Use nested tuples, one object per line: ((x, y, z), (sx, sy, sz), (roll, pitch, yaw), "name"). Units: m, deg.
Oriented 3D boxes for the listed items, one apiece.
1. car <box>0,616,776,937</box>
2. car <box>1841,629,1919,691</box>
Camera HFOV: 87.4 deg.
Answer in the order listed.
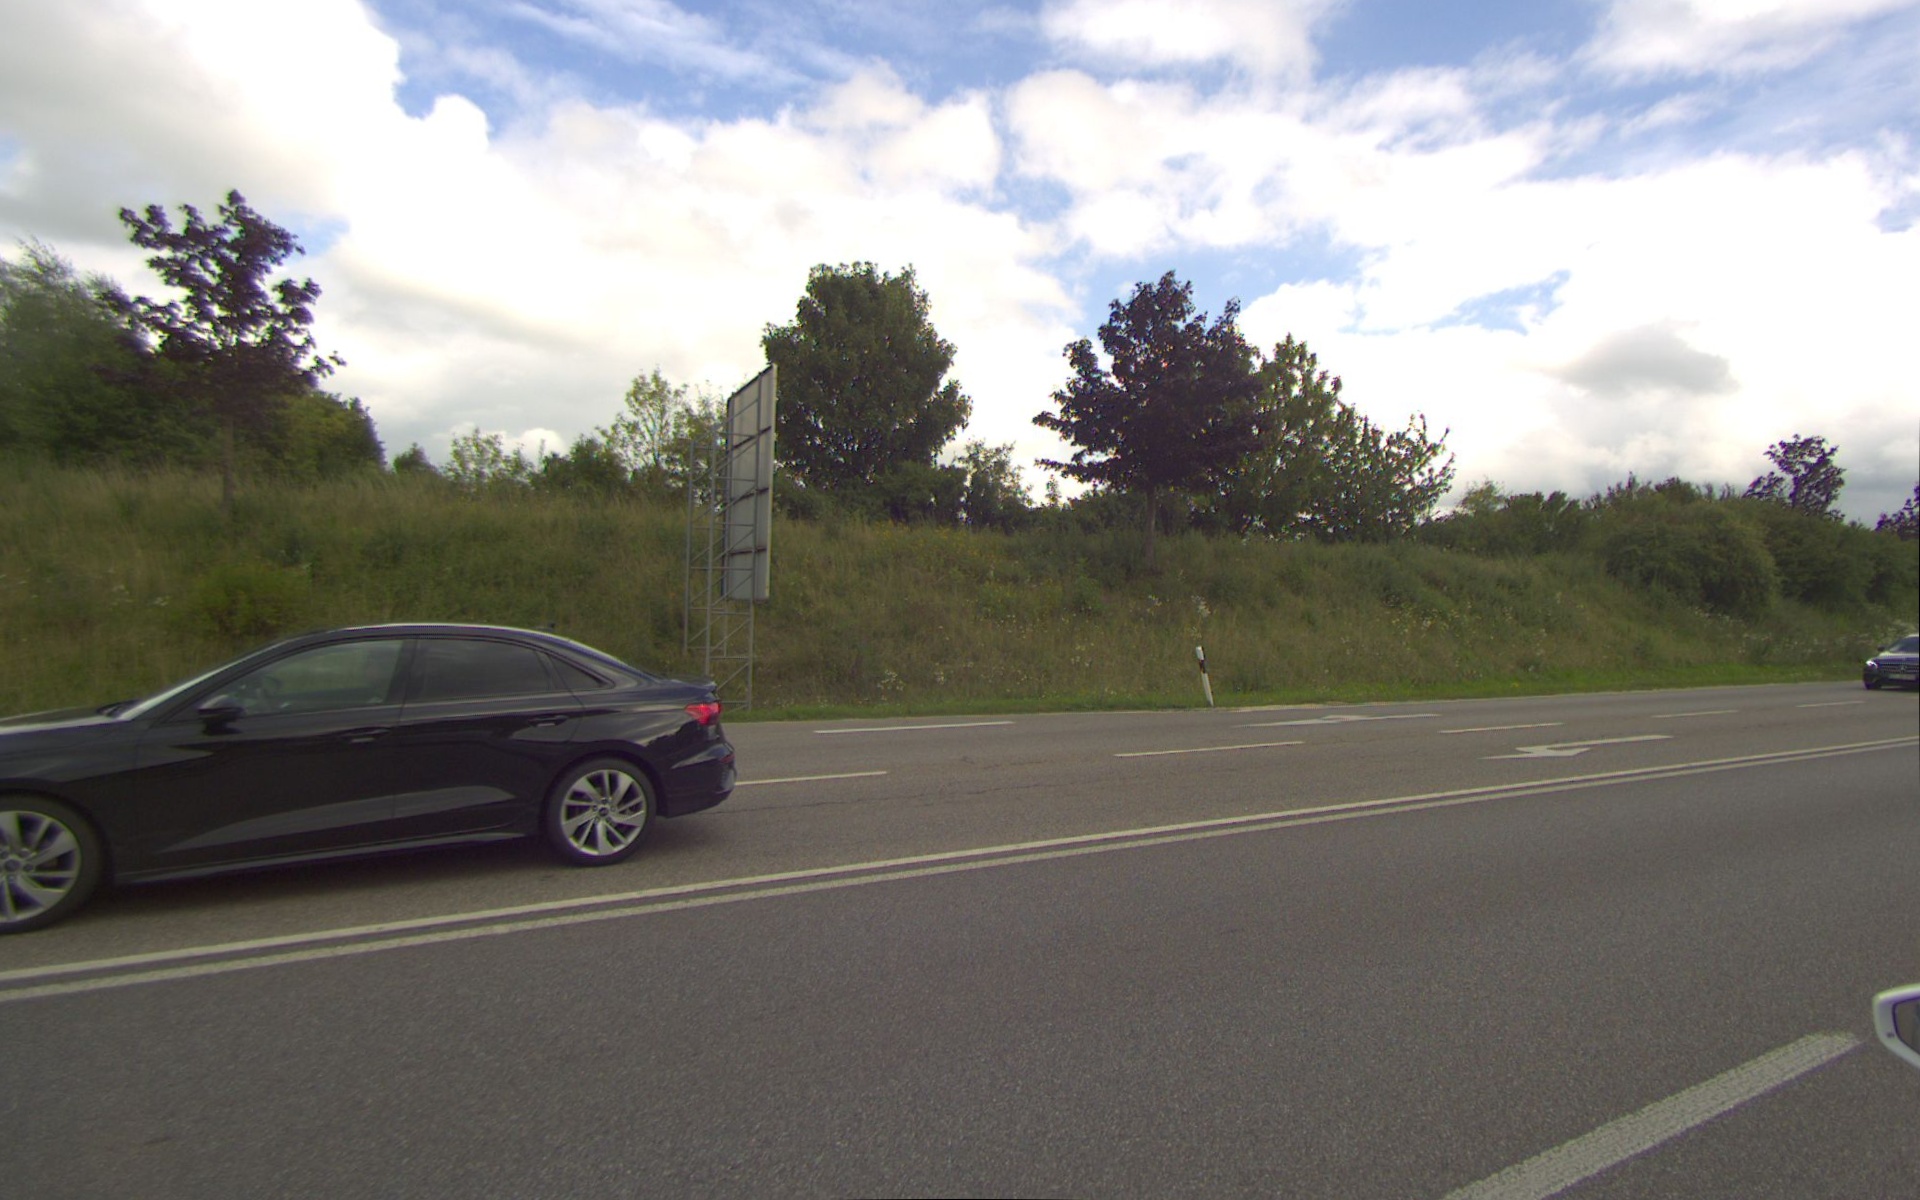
((-3.542, 0.832, 5.965), (4.493, 1.401, 1.756), (1, -1, -32), "car")
((25.839, 1.574, 26.887), (4.935, 1.514, 1.984), (1, -1, -31), "car")
